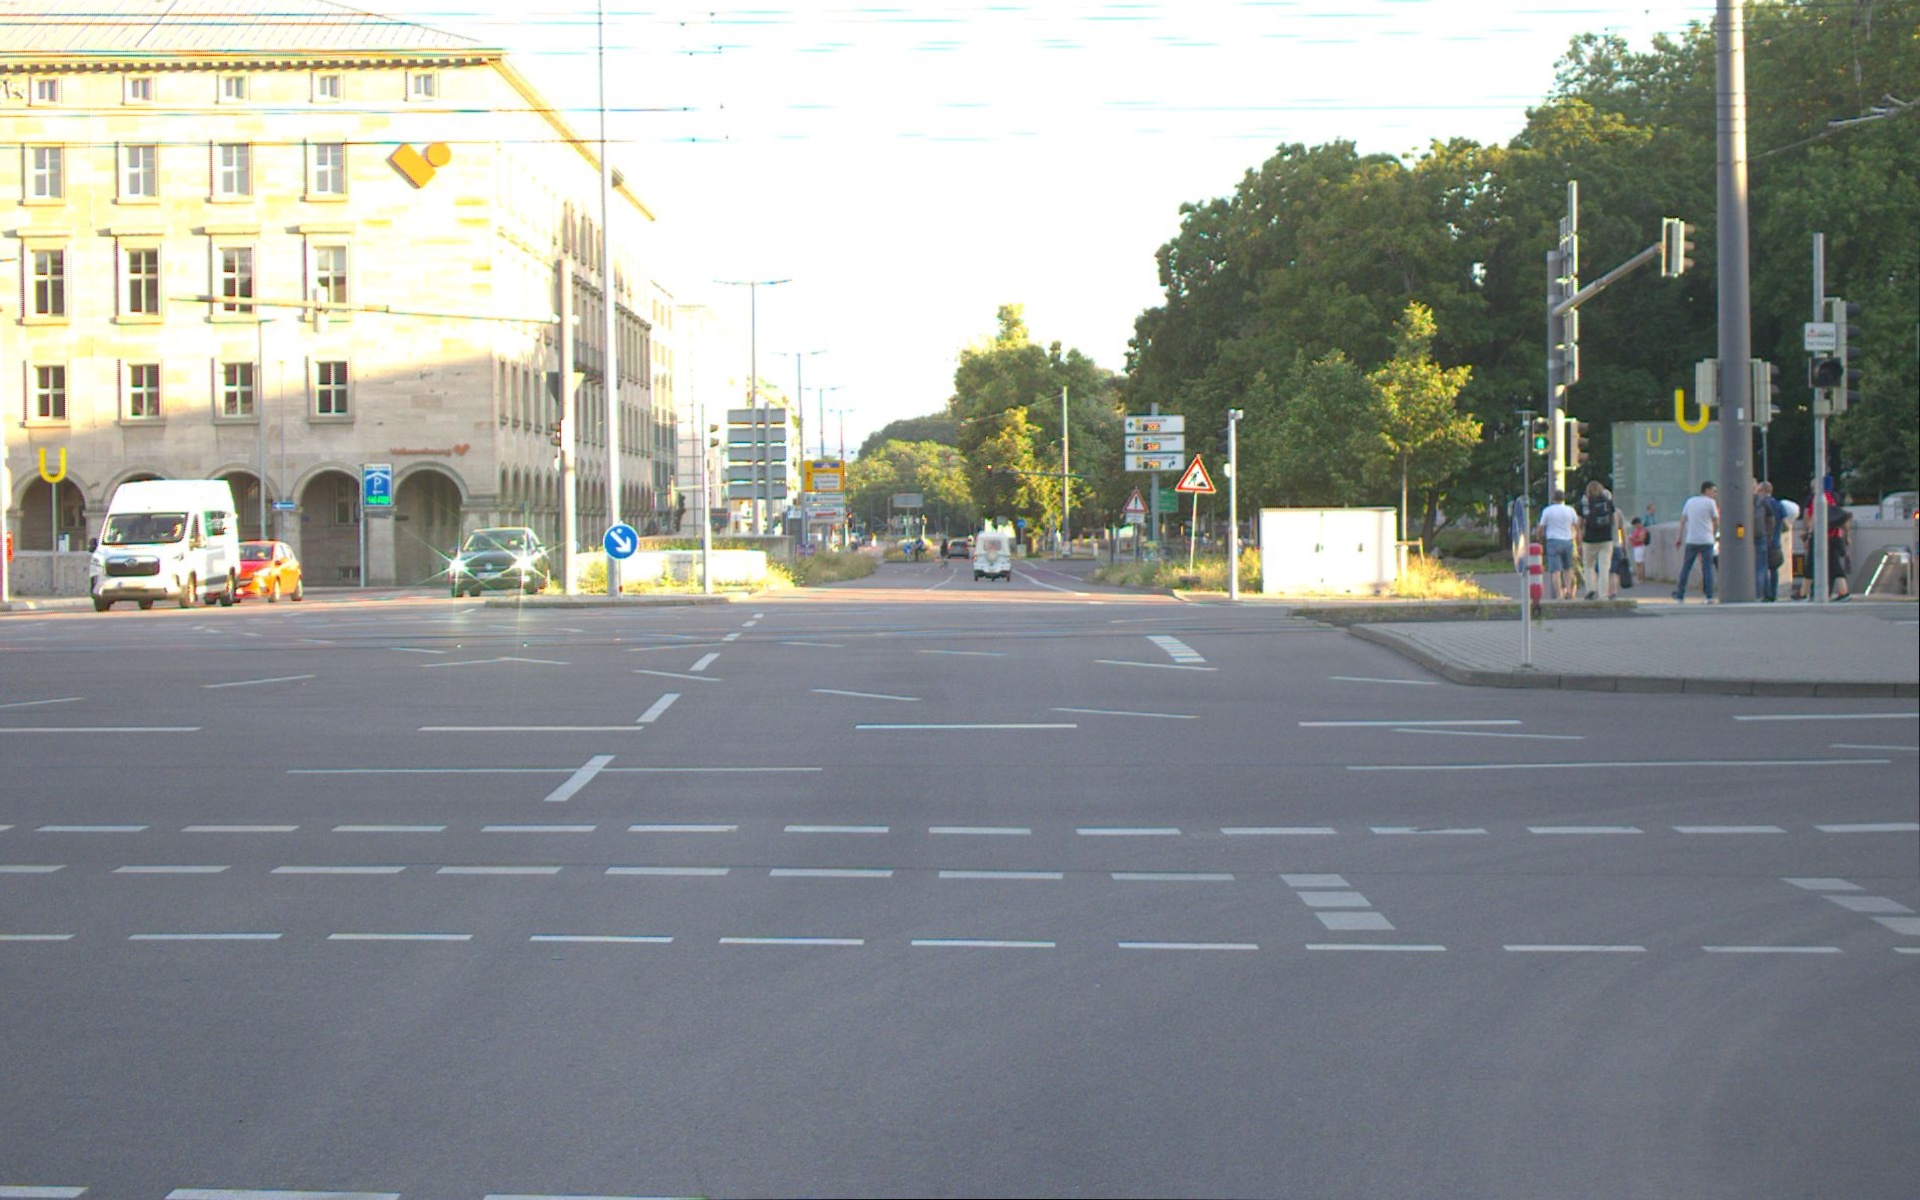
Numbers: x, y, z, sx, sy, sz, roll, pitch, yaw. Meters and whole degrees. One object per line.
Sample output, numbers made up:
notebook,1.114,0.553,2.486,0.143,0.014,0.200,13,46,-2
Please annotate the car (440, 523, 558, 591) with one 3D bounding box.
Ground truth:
car,-9.643,-0.922,72.120,1.823,1.337,4.000,-1,2,2

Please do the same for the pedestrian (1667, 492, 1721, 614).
pedestrian,10.483,-0.682,49.071,0.711,1.719,0.914,0,2,15

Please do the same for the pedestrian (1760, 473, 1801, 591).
pedestrian,11.769,-0.982,49.325,0.572,1.673,0.638,0,2,14

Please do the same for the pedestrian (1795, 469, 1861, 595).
pedestrian,11.999,-0.945,47.548,0.845,1.728,0.705,0,2,12

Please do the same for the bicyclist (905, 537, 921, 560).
bicyclist,-3.002,-3.322,220.153,0.830,1.458,0.661,-1,2,-26

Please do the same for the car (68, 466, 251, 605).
car,-16.752,-1.376,72.320,2.279,2.766,6.084,-1,2,1

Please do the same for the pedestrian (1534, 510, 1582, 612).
pedestrian,10.519,-0.691,60.464,0.680,1.751,0.901,0,2,20

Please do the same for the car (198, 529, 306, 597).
car,-16.626,-0.895,80.883,1.738,1.482,4.001,-1,2,-1

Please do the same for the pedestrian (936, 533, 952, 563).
pedestrian,-0.907,-2.946,194.644,0.906,1.665,1.307,-1,2,-2

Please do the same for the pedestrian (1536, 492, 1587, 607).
pedestrian,9.083,-0.762,51.924,0.711,1.719,0.668,0,2,13

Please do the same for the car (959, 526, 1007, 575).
car,0.822,-1.793,123.556,1.483,1.690,2.974,-1,2,-4

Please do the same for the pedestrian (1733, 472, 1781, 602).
pedestrian,11.083,-0.878,47.810,0.572,1.785,0.638,0,2,20

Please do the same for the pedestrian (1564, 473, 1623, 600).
pedestrian,8.655,-0.877,46.963,0.711,1.719,0.914,0,2,15

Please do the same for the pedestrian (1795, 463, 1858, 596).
pedestrian,11.712,-0.956,46.475,0.805,1.785,0.800,0,2,14

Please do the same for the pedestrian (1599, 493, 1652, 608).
pedestrian,10.012,-0.747,51.702,0.711,1.719,0.668,0,2,17

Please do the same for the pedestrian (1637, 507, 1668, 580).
pedestrian,17.459,-1.423,86.691,0.666,1.836,0.713,-1,2,5

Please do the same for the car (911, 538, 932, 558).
car,-2.634,-3.558,234.901,1.369,1.230,3.045,-1,2,-1

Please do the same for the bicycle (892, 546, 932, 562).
bicycle,-3.094,-2.946,220.133,2.601,0.955,0.515,1,0,-27
